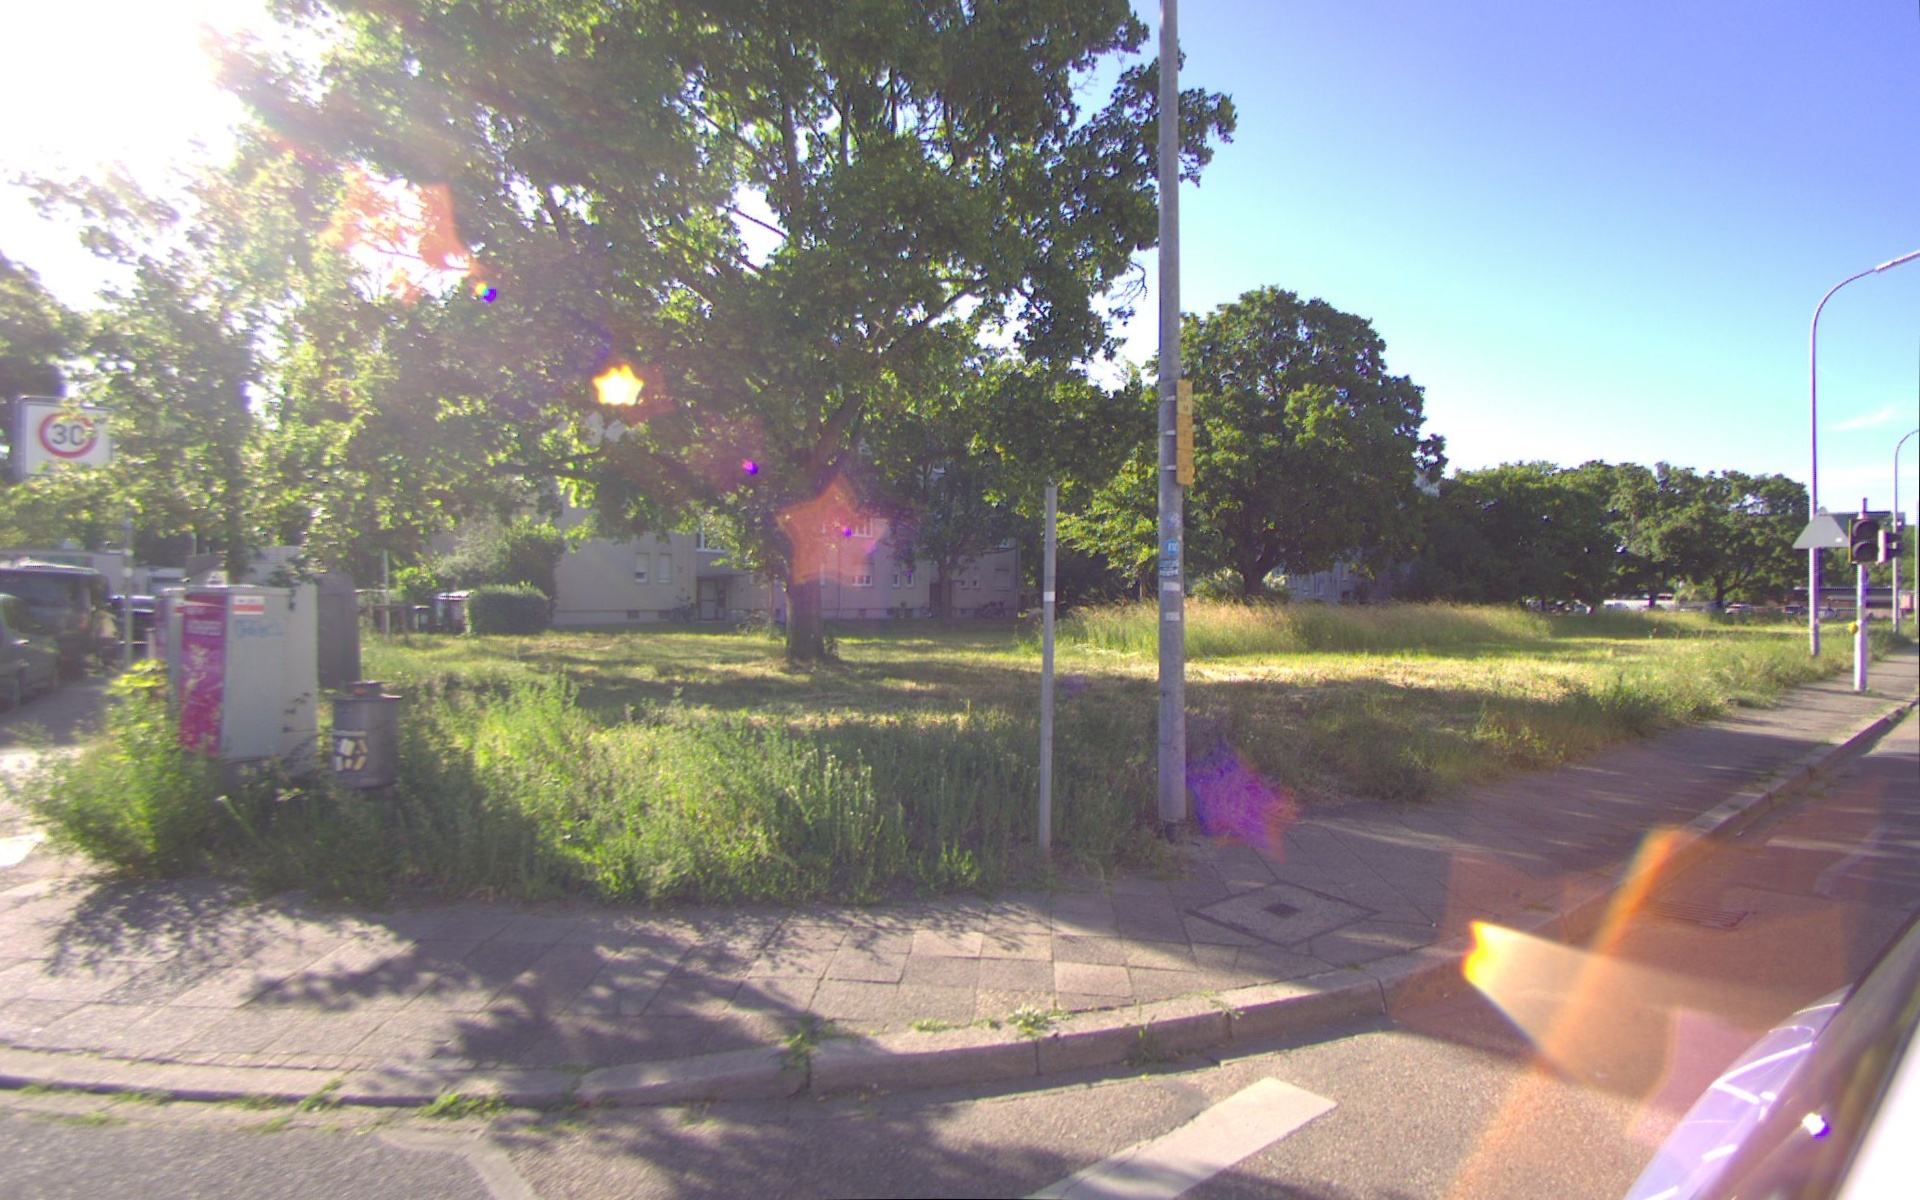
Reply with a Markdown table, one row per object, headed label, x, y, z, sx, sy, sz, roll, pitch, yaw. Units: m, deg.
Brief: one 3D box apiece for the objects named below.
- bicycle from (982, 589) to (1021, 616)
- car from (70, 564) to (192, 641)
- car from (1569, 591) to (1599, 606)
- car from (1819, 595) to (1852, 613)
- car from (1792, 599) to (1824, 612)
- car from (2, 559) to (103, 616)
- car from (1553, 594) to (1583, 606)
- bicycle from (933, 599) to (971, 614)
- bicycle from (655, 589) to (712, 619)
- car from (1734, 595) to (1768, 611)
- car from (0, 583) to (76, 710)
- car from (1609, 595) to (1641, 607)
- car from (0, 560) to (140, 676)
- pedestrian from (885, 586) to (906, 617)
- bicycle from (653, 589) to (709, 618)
| label | x | y | z | sx | sy | sz | roll | pitch | yaw |
| --- | --- | --- | --- | --- | --- | --- | --- | --- | --- |
| bicycle | 2.465 | 0.120 | 59.680 | 0.779 | 1.544 | 2.716 | 1 | 1 | 40 |
| car | -23.811 | 0.039 | 29.247 | 2.123 | 2.038 | 4.522 | 0 | 0 | -32 |
| car | 84.540 | -0.184 | 137.084 | 3.922 | 2.039 | 2.001 | 0 | 1 | -33 |
| car | 97.832 | 0.443 | 113.088 | 3.926 | 1.883 | 1.956 | 0 | 1 | -37 |
| car | 96.437 | 0.625 | 115.030 | 3.923 | 1.340 | 1.782 | 0 | 1 | -34 |
| car | -38.874 | -0.580 | 43.512 | 2.222 | 2.290 | 5.083 | 0 | 1 | -30 |
| car | 83.655 | -0.028 | 139.265 | 3.920 | 1.581 | 1.959 | 0 | 1 | -31 |
| bicycle | -0.453 | 0.358 | 56.572 | 2.266 | 0.822 | 0.693 | -1 | 1 | -44 |
| bicycle | -11.767 | 0.161 | 43.158 | 0.930 | 1.220 | 2.676 | 1 | 1 | 23 |
| car | 93.377 | 0.357 | 119.409 | 3.920 | 1.795 | 1.863 | 0 | 1 | -31 |
| car | -13.641 | 0.554 | 13.744 | 1.935 | 1.561 | 4.116 | 1 | -1 | -34 |
| car | 87.086 | 0.144 | 132.527 | 3.920 | 1.581 | 1.959 | 0 | 1 | -31 |
| car | -17.789 | 0.288 | 19.738 | 2.229 | 2.038 | 4.522 | 0 | 0 | -32 |
| pedestrian | -3.184 | 0.073 | 50.137 | 0.752 | 1.475 | 0.758 | 1 | 0 | 35 |
| bicycle | -12.204 | 0.133 | 44.371 | 0.930 | 1.220 | 2.676 | 1 | 1 | 23 |
